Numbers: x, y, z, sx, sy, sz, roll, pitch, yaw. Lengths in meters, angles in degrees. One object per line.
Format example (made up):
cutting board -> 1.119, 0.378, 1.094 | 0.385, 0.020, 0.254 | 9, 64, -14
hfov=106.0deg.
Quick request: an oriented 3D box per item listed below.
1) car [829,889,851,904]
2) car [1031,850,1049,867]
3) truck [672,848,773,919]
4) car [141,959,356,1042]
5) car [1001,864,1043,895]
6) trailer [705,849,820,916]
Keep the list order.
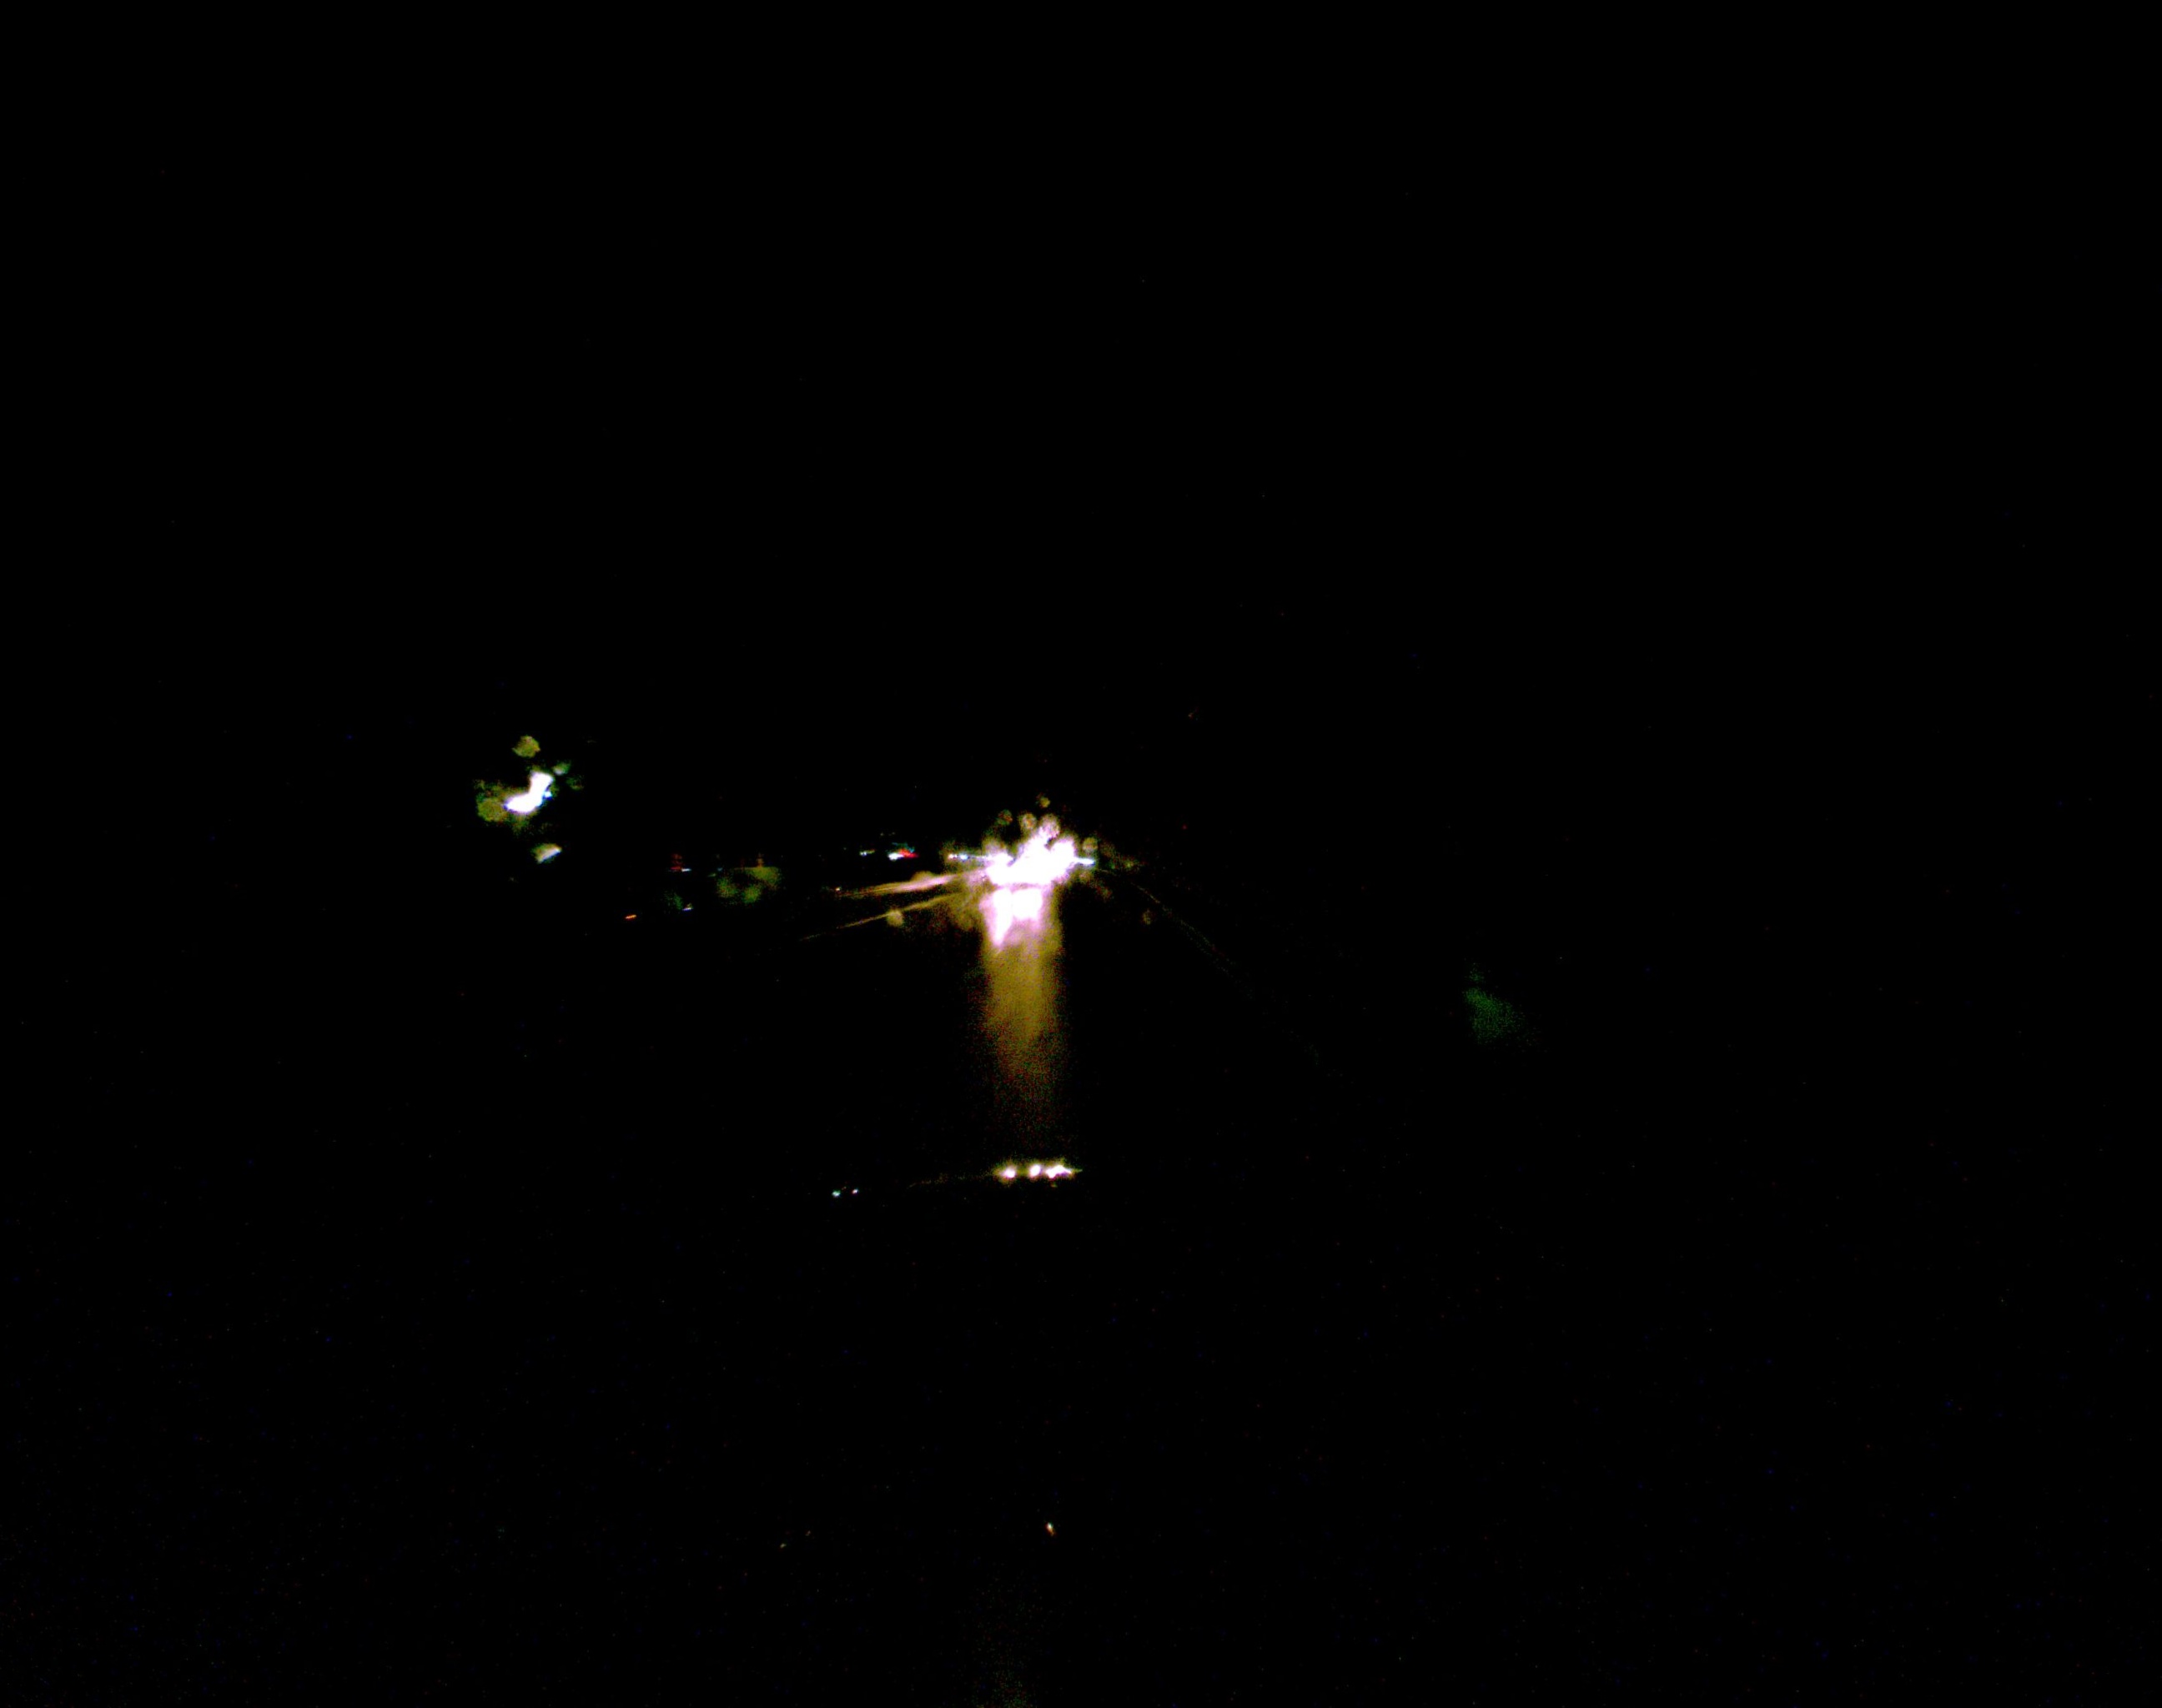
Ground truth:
car -> -28.440, 4.975, 96.297 | 1.807, 1.570, 4.280 | -1, 0, -8
car -> -3.994, 0.429, 79.820 | 1.631, 1.519, 3.769 | -2, 0, -1
truck -> -25.629, 2.039, 58.733 | 3.309, 4.796, 7.333 | -1, 0, 7
car -> -24.025, 4.170, 23.790 | 1.802, 1.676, 4.293 | -1, 0, 1
car -> -2.882, 1.224, 40.552 | 1.706, 1.417, 4.066 | -1, 0, 1
trailer -> -24.863, 2.068, 64.554 | 3.309, 4.796, 11.577 | -1, 0, 7
